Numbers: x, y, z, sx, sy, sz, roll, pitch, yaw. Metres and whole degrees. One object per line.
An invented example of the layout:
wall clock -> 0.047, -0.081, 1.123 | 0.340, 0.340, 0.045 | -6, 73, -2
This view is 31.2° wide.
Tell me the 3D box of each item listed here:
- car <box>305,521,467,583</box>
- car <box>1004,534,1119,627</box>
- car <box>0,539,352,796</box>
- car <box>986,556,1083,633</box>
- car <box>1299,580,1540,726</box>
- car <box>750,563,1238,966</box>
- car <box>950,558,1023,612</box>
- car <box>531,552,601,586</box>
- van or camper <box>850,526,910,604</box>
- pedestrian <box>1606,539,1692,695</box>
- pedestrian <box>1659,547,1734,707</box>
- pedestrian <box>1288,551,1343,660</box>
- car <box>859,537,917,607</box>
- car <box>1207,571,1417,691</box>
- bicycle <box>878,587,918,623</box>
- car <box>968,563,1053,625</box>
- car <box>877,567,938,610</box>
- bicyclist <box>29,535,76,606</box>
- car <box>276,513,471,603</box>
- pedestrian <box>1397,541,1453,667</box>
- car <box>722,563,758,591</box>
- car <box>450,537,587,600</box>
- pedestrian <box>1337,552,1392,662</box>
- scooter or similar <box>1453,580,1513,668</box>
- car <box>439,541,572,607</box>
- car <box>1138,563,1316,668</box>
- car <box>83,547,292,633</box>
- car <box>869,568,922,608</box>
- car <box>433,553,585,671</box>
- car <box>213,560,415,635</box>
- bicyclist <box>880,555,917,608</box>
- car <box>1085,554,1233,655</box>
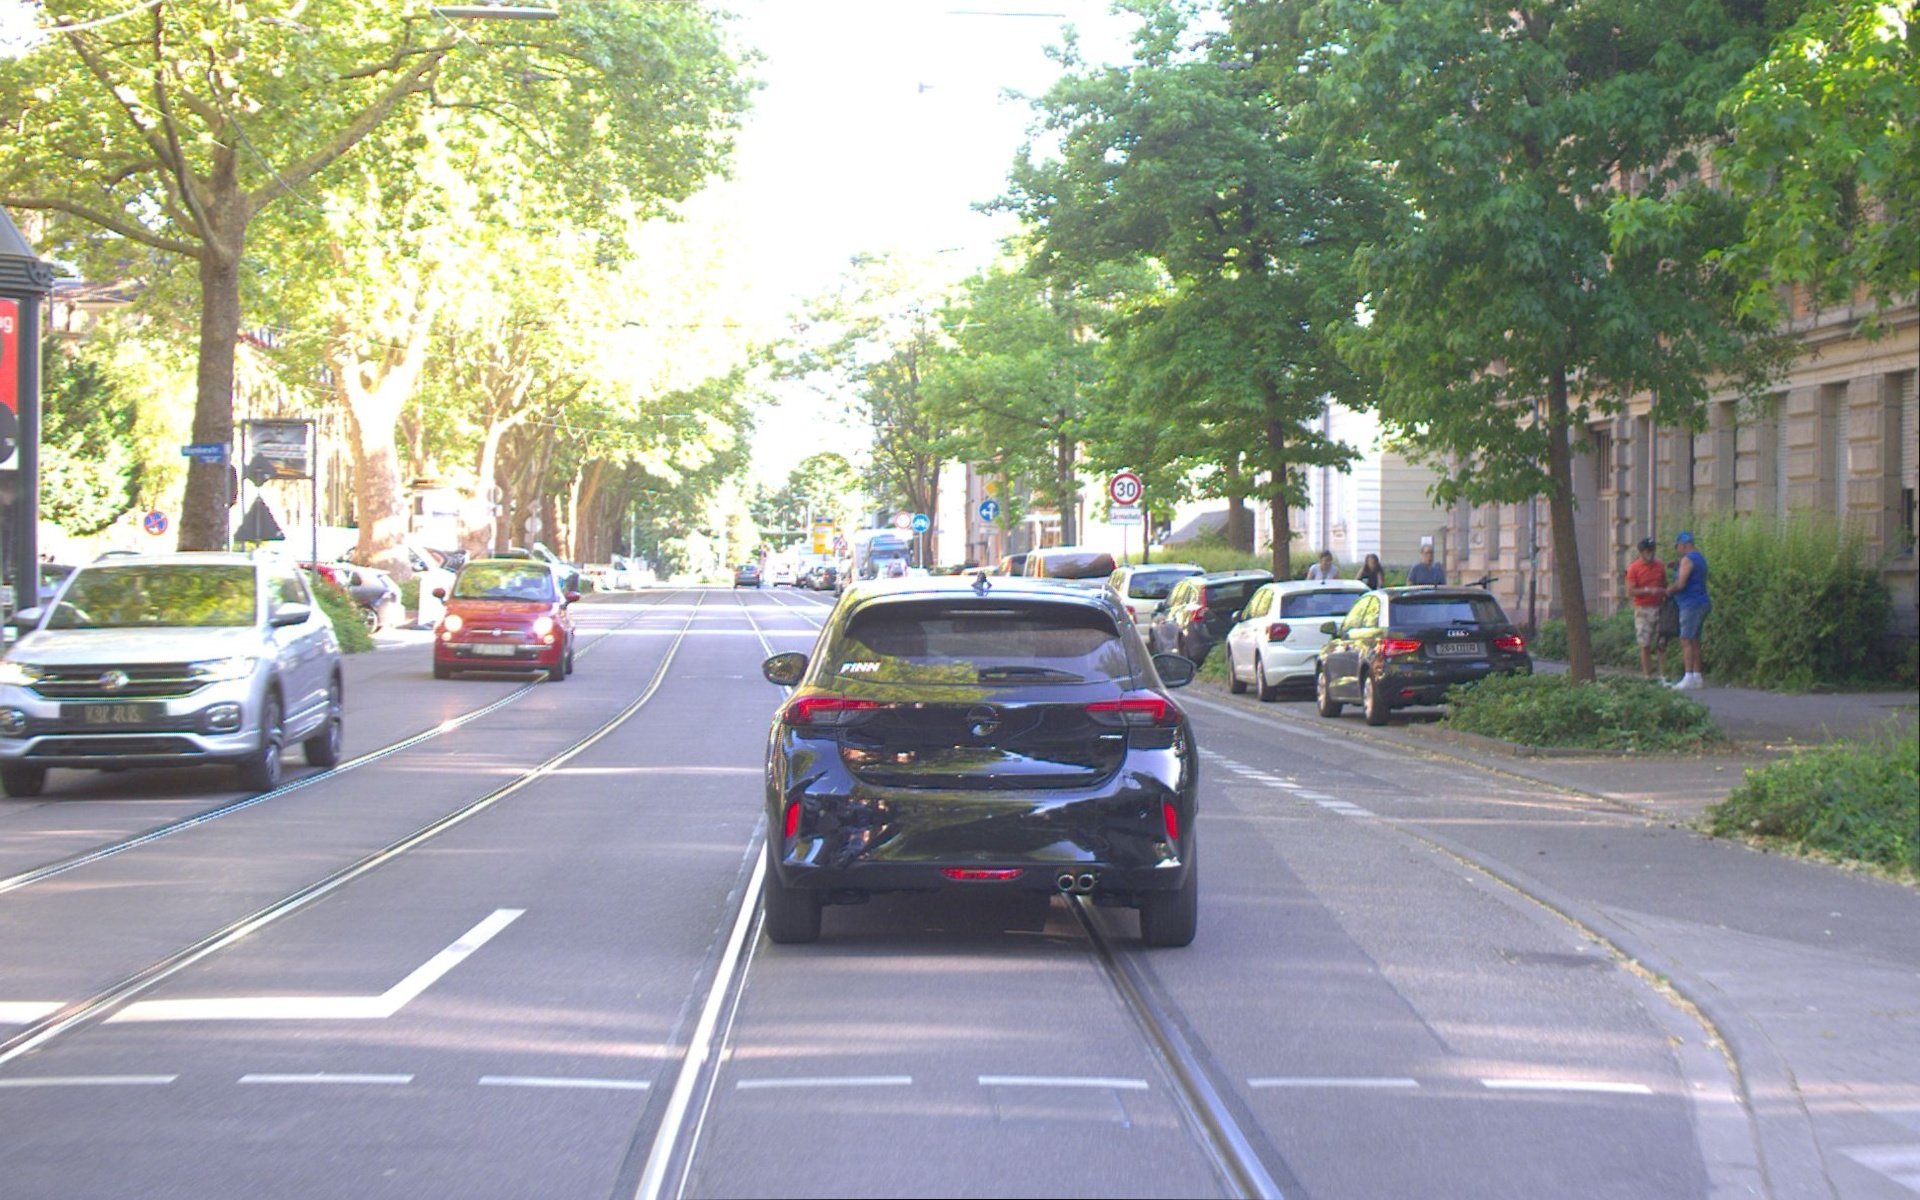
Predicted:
car -> -15.902, -1.321, 95.384 | 4.298, 1.601, 1.926 | 1, 0, -6
car -> 2.109, -0.413, 72.633 | 1.884, 1.845, 4.968 | -2, 0, -4
car -> -5.289, 0.403, 23.326 | 1.815, 1.563, 4.117 | -1, 0, -4
car -> 1.737, -0.139, 81.666 | 1.885, 1.760, 4.679 | 0, 0, -4
car -> 4.794, 0.519, 36.354 | 1.672, 1.407, 3.843 | -2, 0, -5
car -> 0.010, 0.602, 14.720 | 1.763, 1.455, 3.951 | 1, 0, -4
car -> 0.723, -0.426, 96.280 | 1.702, 1.418, 3.979 | -3, 1, -4
car -> -24.426, -1.929, 213.291 | 3.987, 2.007, 2.000 | 1, 0, 3
van or camper -> -3.411, -1.479, 146.089 | 2.254, 3.205, 5.532 | -1, 0, -4
pedestrian -> 7.990, 0.193, 39.881 | 0.726, 1.787, 0.600 | 1, 0, -28
pedestrian -> 8.362, 0.303, 39.056 | 0.598, 1.787, 0.728 | 1, 0, -6
pedestrian -> 5.595, 0.080, 54.156 | 0.726, 1.687, 0.957 | 1, 0, 0
car -> -2.939, -1.161, 139.541 | 2.085, 2.763, 4.698 | -1, 1, -4
car -> 4.323, 0.354, 42.832 | 1.884, 1.363, 4.107 | -2, 0, -4
bicycle -> -1.801, 0.139, 99.675 | 0.967, 0.995, 2.583 | 1, 0, -5
car -> 1.255, -0.162, 87.616 | 1.711, 1.509, 4.037 | -2, 0, -5
car -> -1.871, -0.408, 122.216 | 1.884, 1.429, 4.531 | -2, 0, -4
bicyclist -> -19.800, -0.642, 74.983 | 0.799, 1.502, 1.117 | 1, 0, -6
car -> -15.698, -1.128, 92.237 | 5.032, 2.252, 2.086 | 1, 0, -7
pedestrian -> 6.694, 0.061, 49.520 | 0.726, 1.787, 0.600 | 1, 0, 4
car -> -14.832, -1.563, 231.940 | 2.254, 1.834, 5.531 | -1, 0, -2
car -> -19.326, -1.375, 150.685 | 5.639, 2.584, 2.196 | 1, 0, 0
pedestrian -> 6.387, 0.103, 54.300 | 0.726, 1.703, 0.856 | 1, 0, -1
scooter or similar -> 7.497, 0.338, 49.334 | 0.575, 1.242, 1.335 | 1, 0, -3
car -> -18.222, -1.047, 138.013 | 5.035, 2.366, 2.081 | -3, 0, -3
car -> 3.999, 0.208, 52.166 | 1.883, 1.462, 4.595 | -2, 0, -5
car -> -14.015, -0.188, 62.516 | 3.419, 1.460, 1.697 | 1, 0, -1
car -> -2.503, -0.455, 132.354 | 1.803, 1.429, 4.000 | -1, -1, -4
car -> -5.704, 0.134, 43.754 | 1.660, 1.439, 3.474 | 0, 0, -3
car -> -13.653, -0.061, 72.854 | 3.986, 1.460, 1.854 | 1, 0, -4
bicyclist -> -1.784, -0.537, 99.665 | 0.958, 1.494, 1.094 | 1, 0, -5
car -> 3.260, 0.058, 57.052 | 1.884, 1.562, 4.243 | -2, 0, -4
